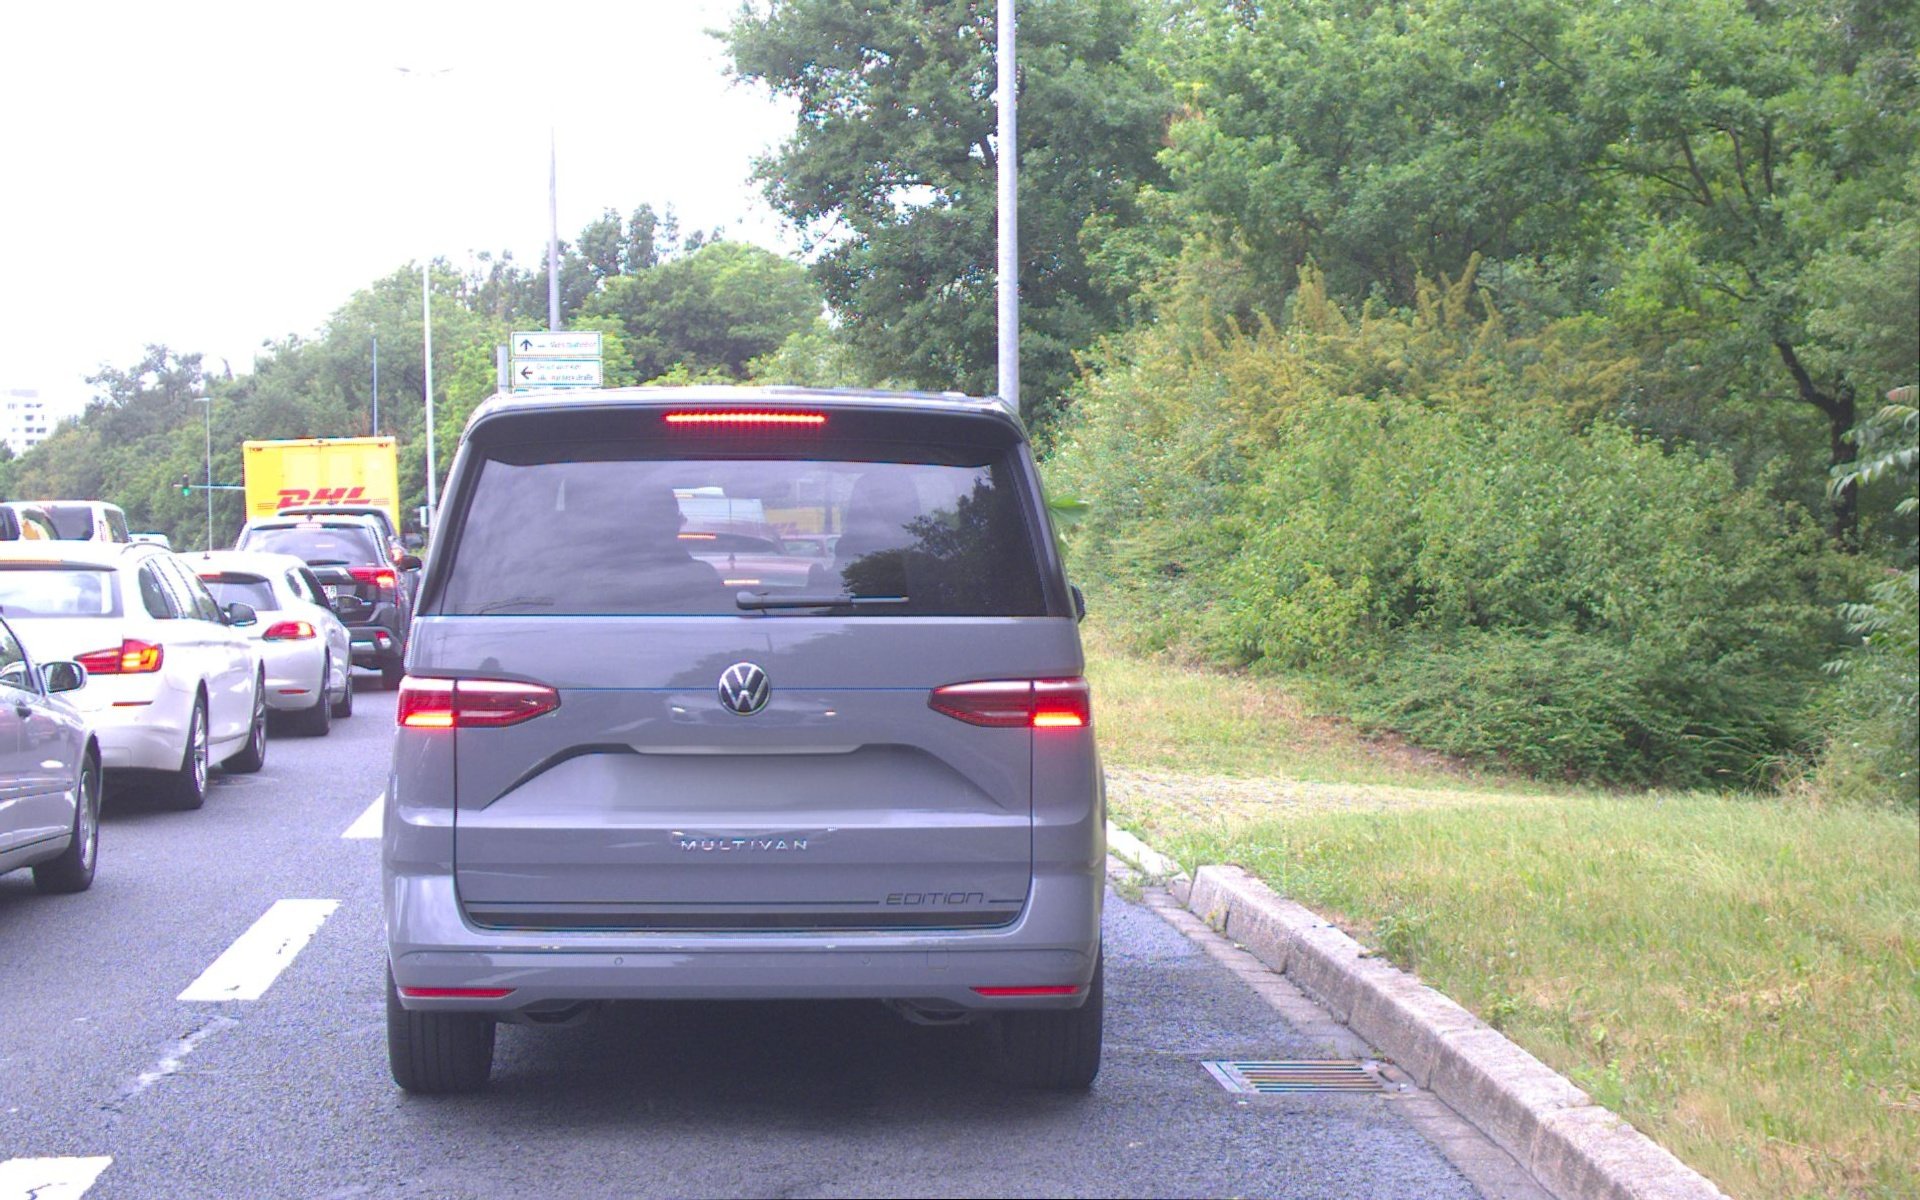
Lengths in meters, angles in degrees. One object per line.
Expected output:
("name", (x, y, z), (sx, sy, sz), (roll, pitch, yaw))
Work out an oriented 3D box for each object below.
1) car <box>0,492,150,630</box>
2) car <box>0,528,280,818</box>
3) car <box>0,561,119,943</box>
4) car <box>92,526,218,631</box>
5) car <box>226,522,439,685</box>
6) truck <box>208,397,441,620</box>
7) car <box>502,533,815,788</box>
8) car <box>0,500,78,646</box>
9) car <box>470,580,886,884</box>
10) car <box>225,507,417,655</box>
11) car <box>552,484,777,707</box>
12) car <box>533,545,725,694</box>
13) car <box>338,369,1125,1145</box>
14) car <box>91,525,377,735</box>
("car", (-11.689, -0.510, 45.042), (1.623, 1.696, 4.297), (1, 1, -7))
("car", (-5.056, 0.348, 20.001), (1.623, 1.489, 4.547), (1, 1, -4))
("car", (-4.335, 0.543, 12.852), (1.623, 1.390, 4.309), (1, 1, -4))
("car", (-13.665, -0.378, 58.557), (1.623, 1.696, 4.297), (1, 1, -7))
("car", (-6.143, 0.012, 34.036), (1.623, 1.489, 4.297), (1, 1, -4))
("truck", (-9.476, -1.287, 52.111), (2.921, 3.033, 9.344), (-1, 0, -7))
("car", (-1.929, 0.352, 23.033), (1.884, 1.540, 4.000), (1, 1, -2))
("car", (-10.741, -0.313, 37.139), (1.623, 1.489, 4.297), (1, 1, -4))
("car", (-1.369, 0.596, 17.725), (1.884, 1.351, 4.000), (1, 1, -2))
("car", (-7.732, -0.242, 41.937), (1.884, 1.694, 4.430), (1, 1, -5))
("car", (-2.719, -0.063, 31.478), (1.884, 1.873, 4.430), (1, 1, -5))
("car", (-3.608, 0.186, 38.085), (1.884, 1.540, 4.000), (1, 1, -2))
("car", (-0.630, 0.367, 10.623), (1.899, 1.878, 4.416), (1, 1, -2))
("car", (-5.585, 0.196, 26.870), (1.623, 1.489, 4.297), (1, 1, -4))
